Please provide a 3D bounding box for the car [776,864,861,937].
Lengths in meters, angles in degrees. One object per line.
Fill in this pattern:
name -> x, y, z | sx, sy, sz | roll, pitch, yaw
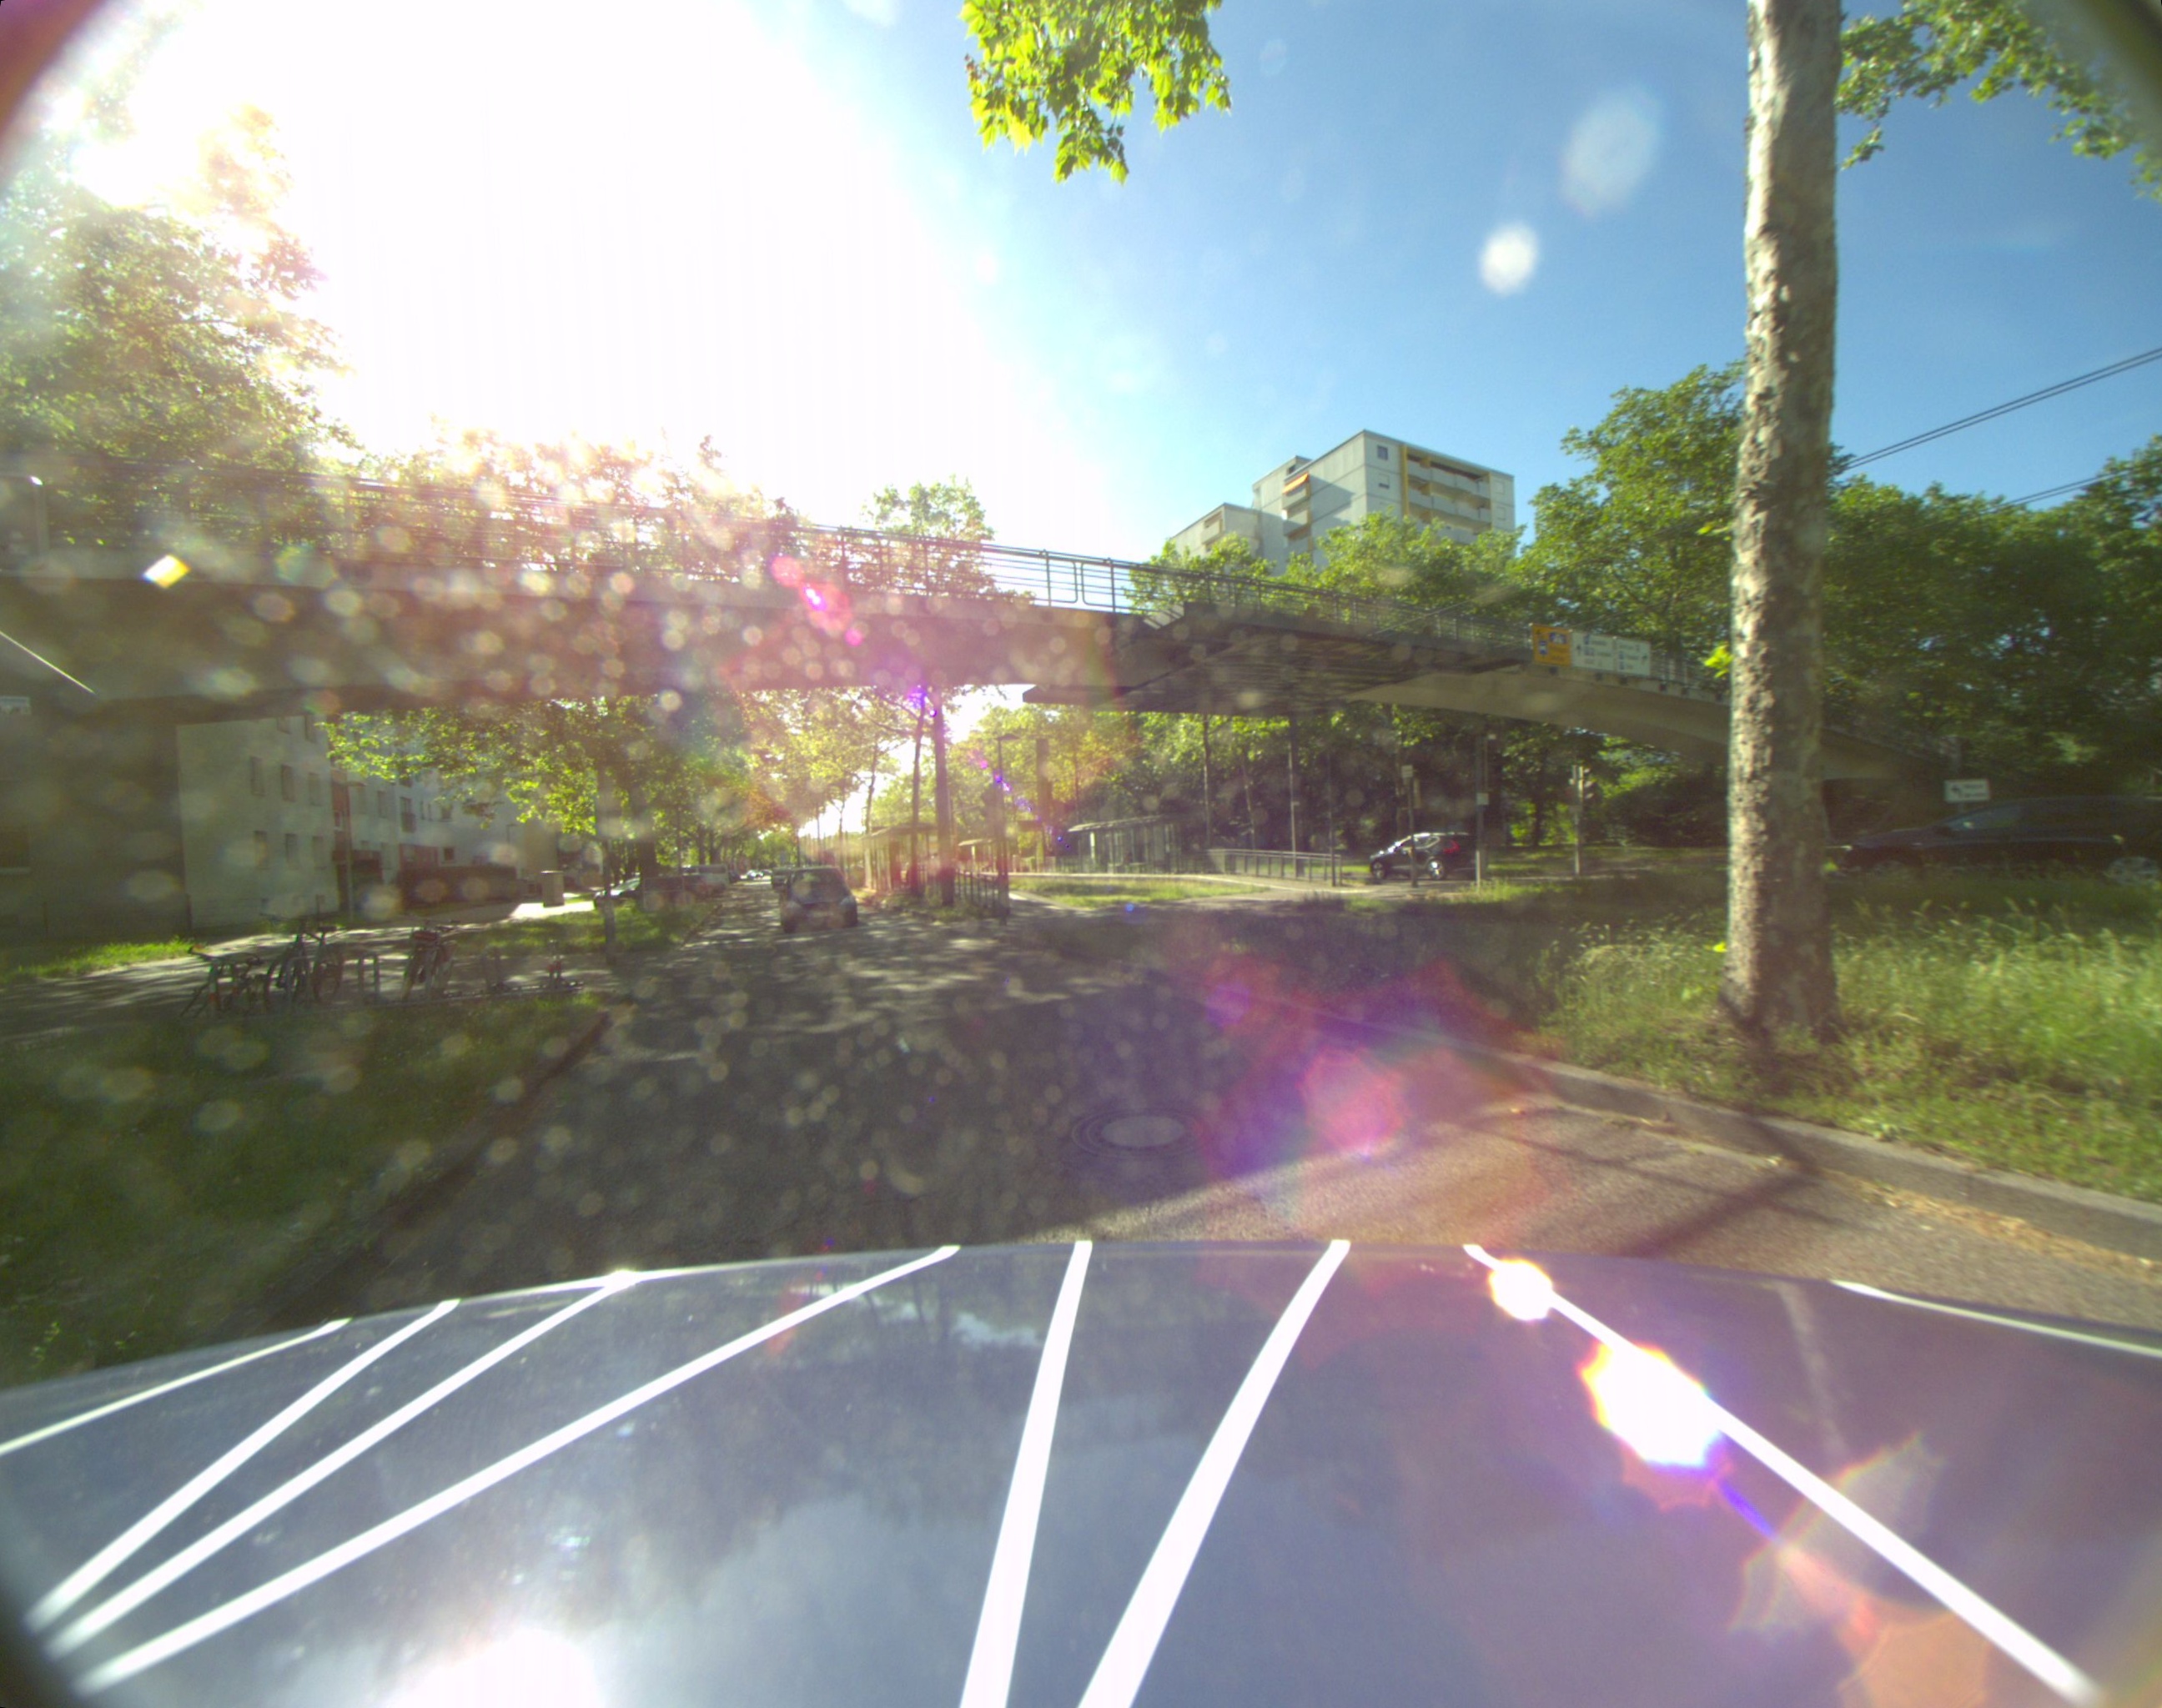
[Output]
car -> -7.019, 1.142, 20.121 | 1.801, 1.580, 3.756 | -5, 1, -22

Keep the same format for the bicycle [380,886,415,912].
bicycle -> -31.536, 2.047, 35.090 | 0.592, 1.101, 1.797 | -3, 1, -22

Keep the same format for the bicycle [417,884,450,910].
bicycle -> -30.218, 1.977, 35.488 | 0.592, 1.101, 1.797 | -3, 1, -22

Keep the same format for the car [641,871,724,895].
car -> -26.054, 1.892, 49.877 | 1.795, 1.415, 4.598 | -1, 0, 26

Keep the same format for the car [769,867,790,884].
car -> -31.001, 2.188, 78.023 | 1.802, 1.501, 3.993 | -5, 1, -24

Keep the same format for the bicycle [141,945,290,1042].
bicycle -> -9.653, 1.518, 8.540 | 0.507, 0.847, 1.471 | 0, -1, -23

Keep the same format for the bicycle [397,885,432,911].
bicycle -> -30.889, 2.018, 35.243 | 0.592, 1.101, 1.797 | -3, 1, -22

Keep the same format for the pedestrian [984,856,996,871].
pedestrian -> -7.303, 0.769, 60.959 | 0.769, 1.176, 0.761 | 0, -1, -22

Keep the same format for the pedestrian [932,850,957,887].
pedestrian -> -5.343, 0.566, 29.716 | 0.727, 1.409, 0.680 | -4, 1, -23

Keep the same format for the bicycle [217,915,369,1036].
bicycle -> -9.231, 1.366, 8.993 | 0.592, 1.175, 1.797 | 0, -1, -23

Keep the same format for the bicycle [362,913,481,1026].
bicycle -> -8.159, 1.370, 9.489 | 0.592, 1.175, 1.797 | 0, -1, -23

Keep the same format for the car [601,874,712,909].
car -> -19.840, 1.725, 35.696 | 1.795, 1.453, 4.264 | -1, 0, 28

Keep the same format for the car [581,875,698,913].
car -> -18.836, 1.661, 32.598 | 1.796, 1.453, 4.007 | -1, 0, 23

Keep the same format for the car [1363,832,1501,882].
car -> 12.279, 0.104, 26.911 | 1.802, 1.557, 4.280 | -3, 1, -23

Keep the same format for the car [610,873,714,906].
car -> -21.096, 1.759, 38.441 | 1.795, 1.453, 4.264 | -1, 0, 28

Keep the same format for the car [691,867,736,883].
car -> -39.184, 2.201, 81.067 | 1.795, 1.566, 4.007 | -2, 0, 27

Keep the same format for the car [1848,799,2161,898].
car -> 16.953, -0.093, 13.572 | 1.803, 1.557, 4.277 | -3, 1, -34

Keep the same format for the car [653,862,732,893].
car -> -27.129, 1.625, 53.199 | 2.012, 2.040, 4.599 | -1, 0, 28

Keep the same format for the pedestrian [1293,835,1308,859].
pedestrian -> 15.377, -0.462, 53.208 | 0.651, 1.652, 0.649 | -4, 1, -21

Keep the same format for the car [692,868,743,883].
car -> -37.002, 2.189, 77.439 | 1.796, 1.414, 4.597 | -2, 0, 23

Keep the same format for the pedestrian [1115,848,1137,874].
pedestrian -> 2.202, 0.329, 37.607 | 0.781, 1.230, 0.720 | -4, 1, -24

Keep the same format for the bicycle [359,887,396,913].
bicycle -> -32.184, 2.091, 34.800 | 0.592, 1.101, 1.797 | -3, 1, -22

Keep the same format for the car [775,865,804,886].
car -> -22.572, 1.657, 58.712 | 1.802, 1.530, 3.993 | -2, 0, -24
